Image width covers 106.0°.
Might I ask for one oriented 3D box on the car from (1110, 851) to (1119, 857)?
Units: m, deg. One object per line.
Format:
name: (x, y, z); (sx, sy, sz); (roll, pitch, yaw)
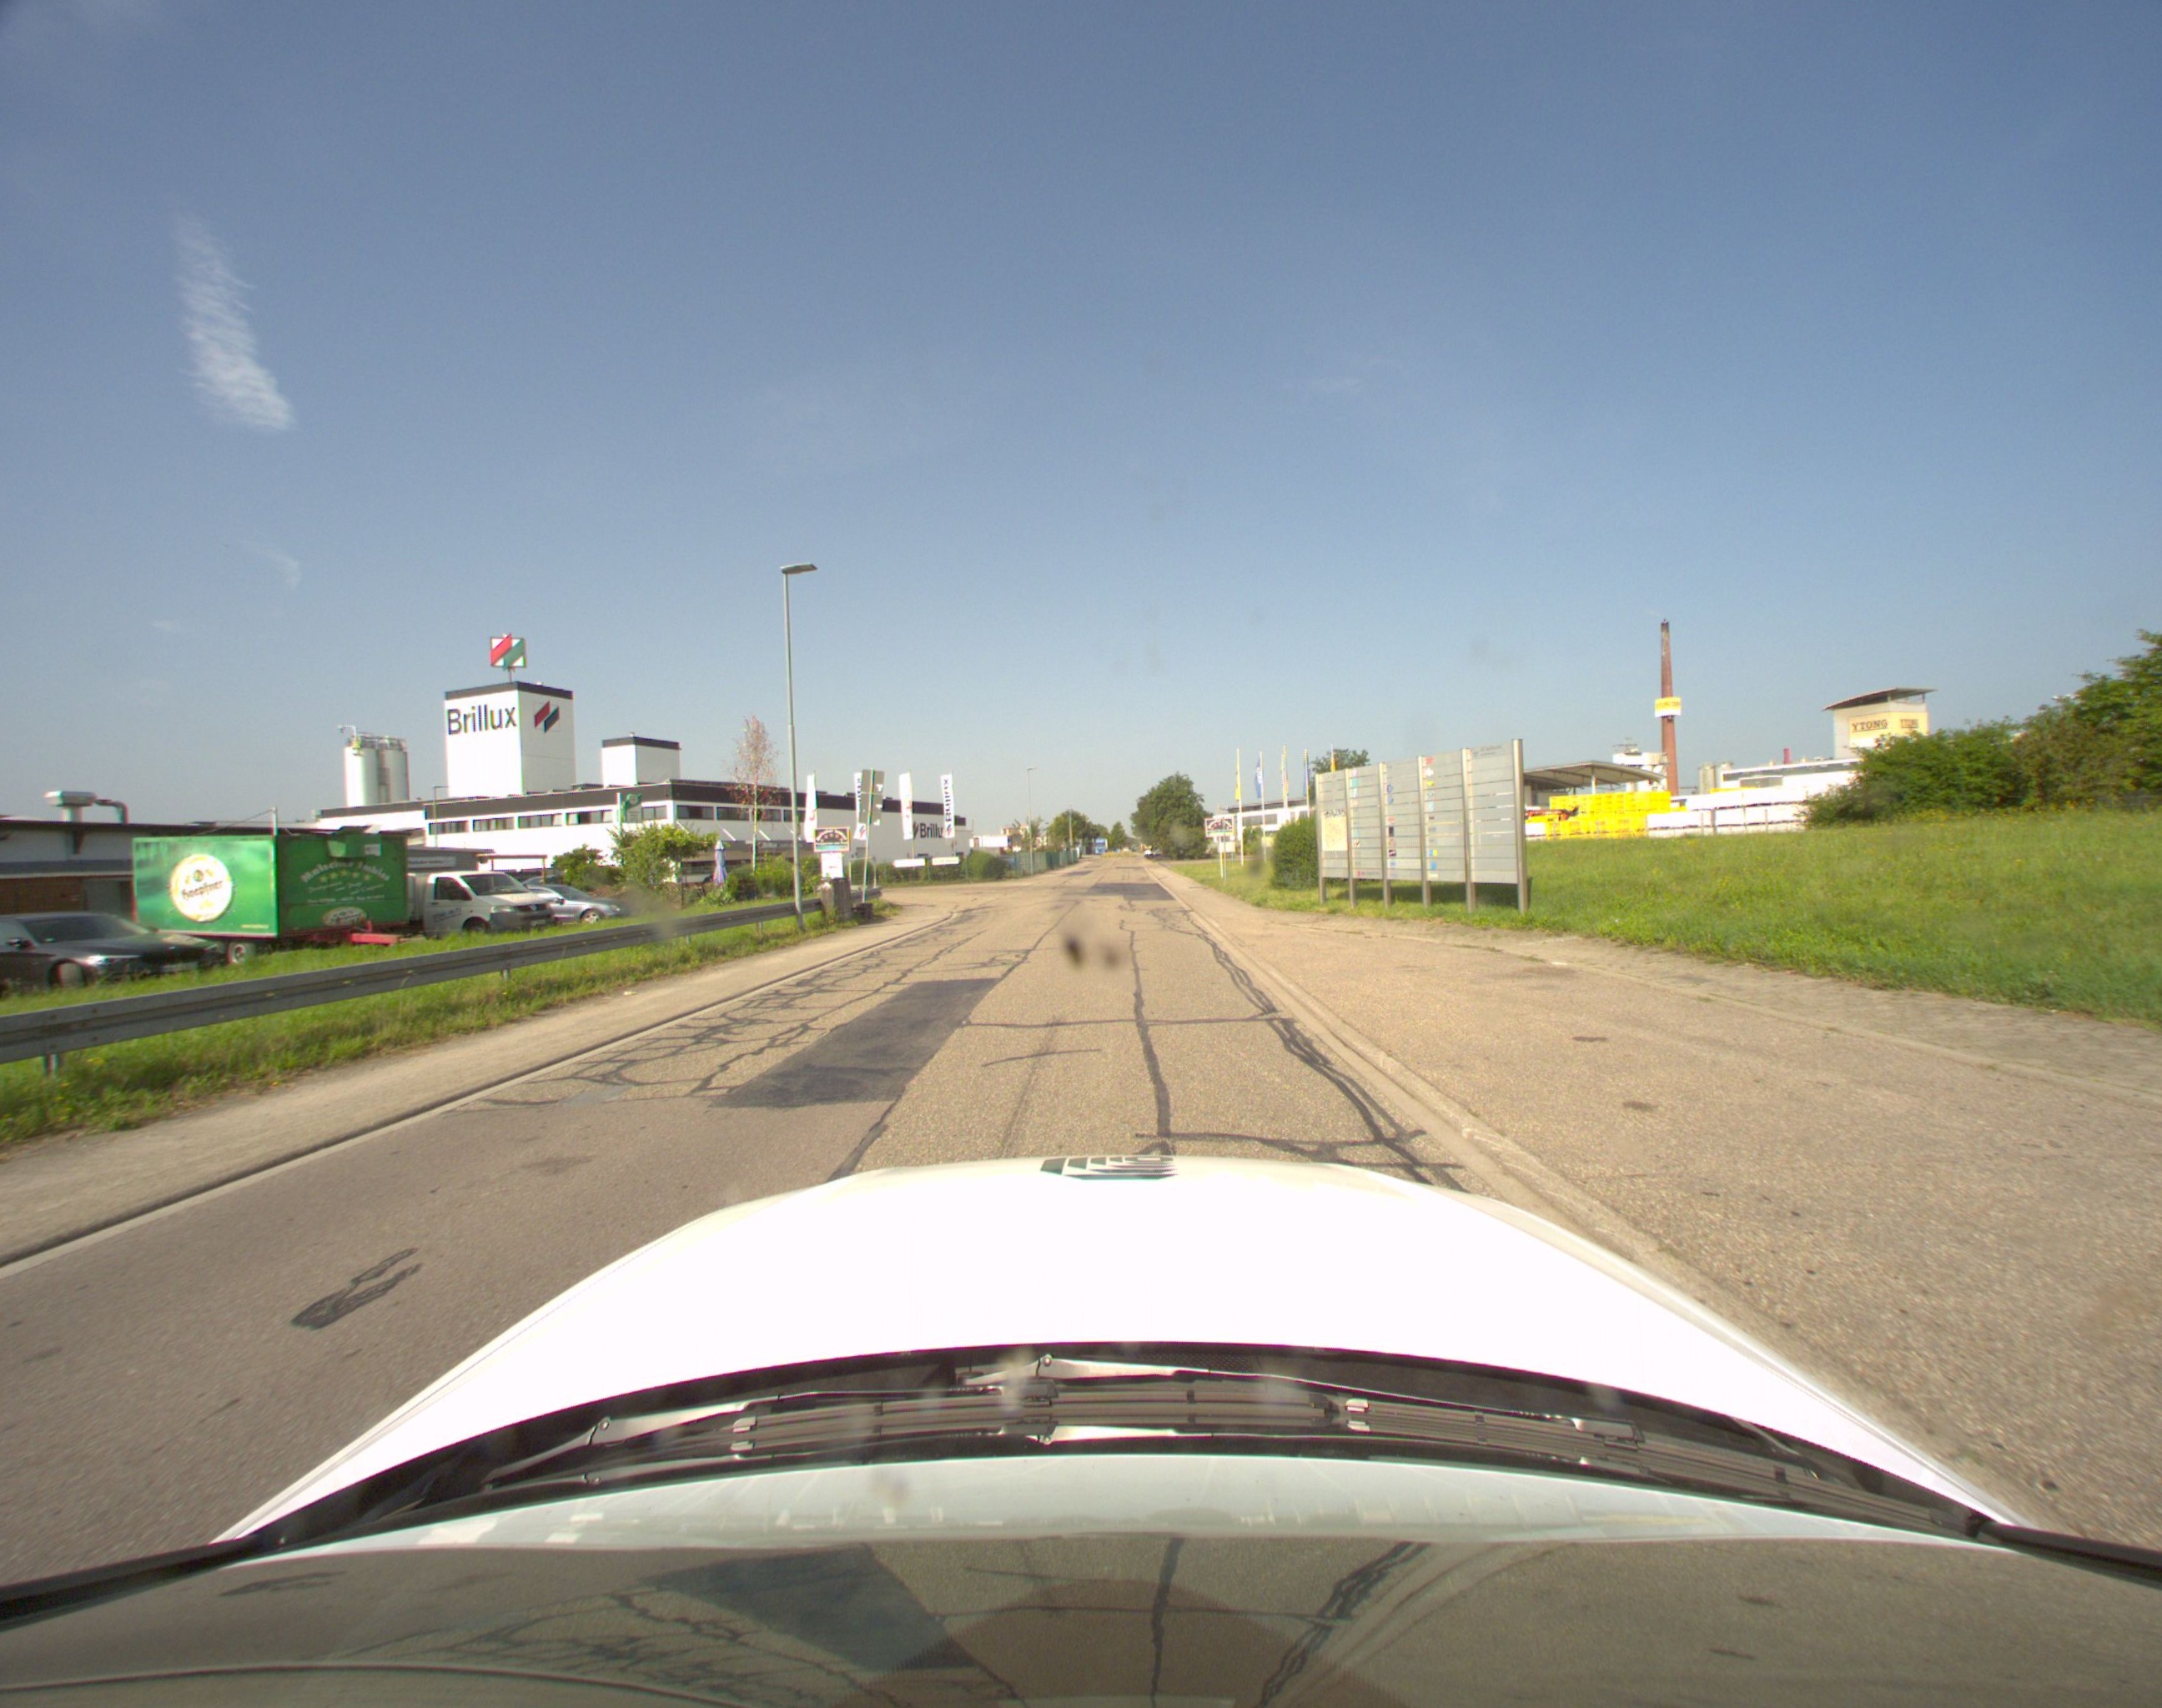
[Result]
car: (8.158, -0.042, 197.935); (1.986, 1.449, 4.421); (-5, 0, 1)

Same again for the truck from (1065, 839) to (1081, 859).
truck: (-1.488, -0.928, 156.661); (2.698, 3.922, 4.299); (0, -1, 2)

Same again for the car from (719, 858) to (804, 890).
car: (-19.670, 1.251, 50.165); (4.608, 1.752, 2.164); (-3, 0, 24)

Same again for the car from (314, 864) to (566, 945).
car: (-16.784, 1.295, 21.455); (5.234, 1.706, 2.004); (-4, 0, 7)

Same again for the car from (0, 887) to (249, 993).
car: (-18.306, 1.581, 15.054); (5.082, 1.534, 2.190); (-4, 1, 21)

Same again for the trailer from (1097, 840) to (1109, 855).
trailer: (5.681, -1.621, 210.795); (2.819, 3.843, 12.044); (0, -1, 3)

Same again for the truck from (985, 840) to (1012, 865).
truck: (-14.065, -0.243, 139.386); (2.493, 4.071, 5.569); (-1, -1, 18)

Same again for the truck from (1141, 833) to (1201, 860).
truck: (12.771, -1.063, 116.094); (8.177, 3.370, 2.742); (-3, -1, 1)

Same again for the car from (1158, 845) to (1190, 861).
car: (12.017, -0.177, 105.465); (3.969, 1.838, 2.002); (-3, 0, 4)

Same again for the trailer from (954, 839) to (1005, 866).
trailer: (-16.312, -0.167, 132.632); (2.461, 4.041, 13.954); (-1, -1, 19)

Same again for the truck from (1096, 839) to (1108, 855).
truck: (5.231, -1.729, 200.702); (2.814, 3.826, 9.679); (0, -1, 3)

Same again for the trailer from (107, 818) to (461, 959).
trailer: (-17.750, 0.769, 18.235); (6.258, 2.604, 2.867); (-4, 0, 17)

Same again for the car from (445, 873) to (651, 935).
car: (-16.131, 1.485, 24.905); (4.819, 1.510, 1.958); (-3, 0, -8)

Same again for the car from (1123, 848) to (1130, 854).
car: (13.148, -0.831, 235.667); (1.712, 1.661, 3.824); (0, -1, 1)
